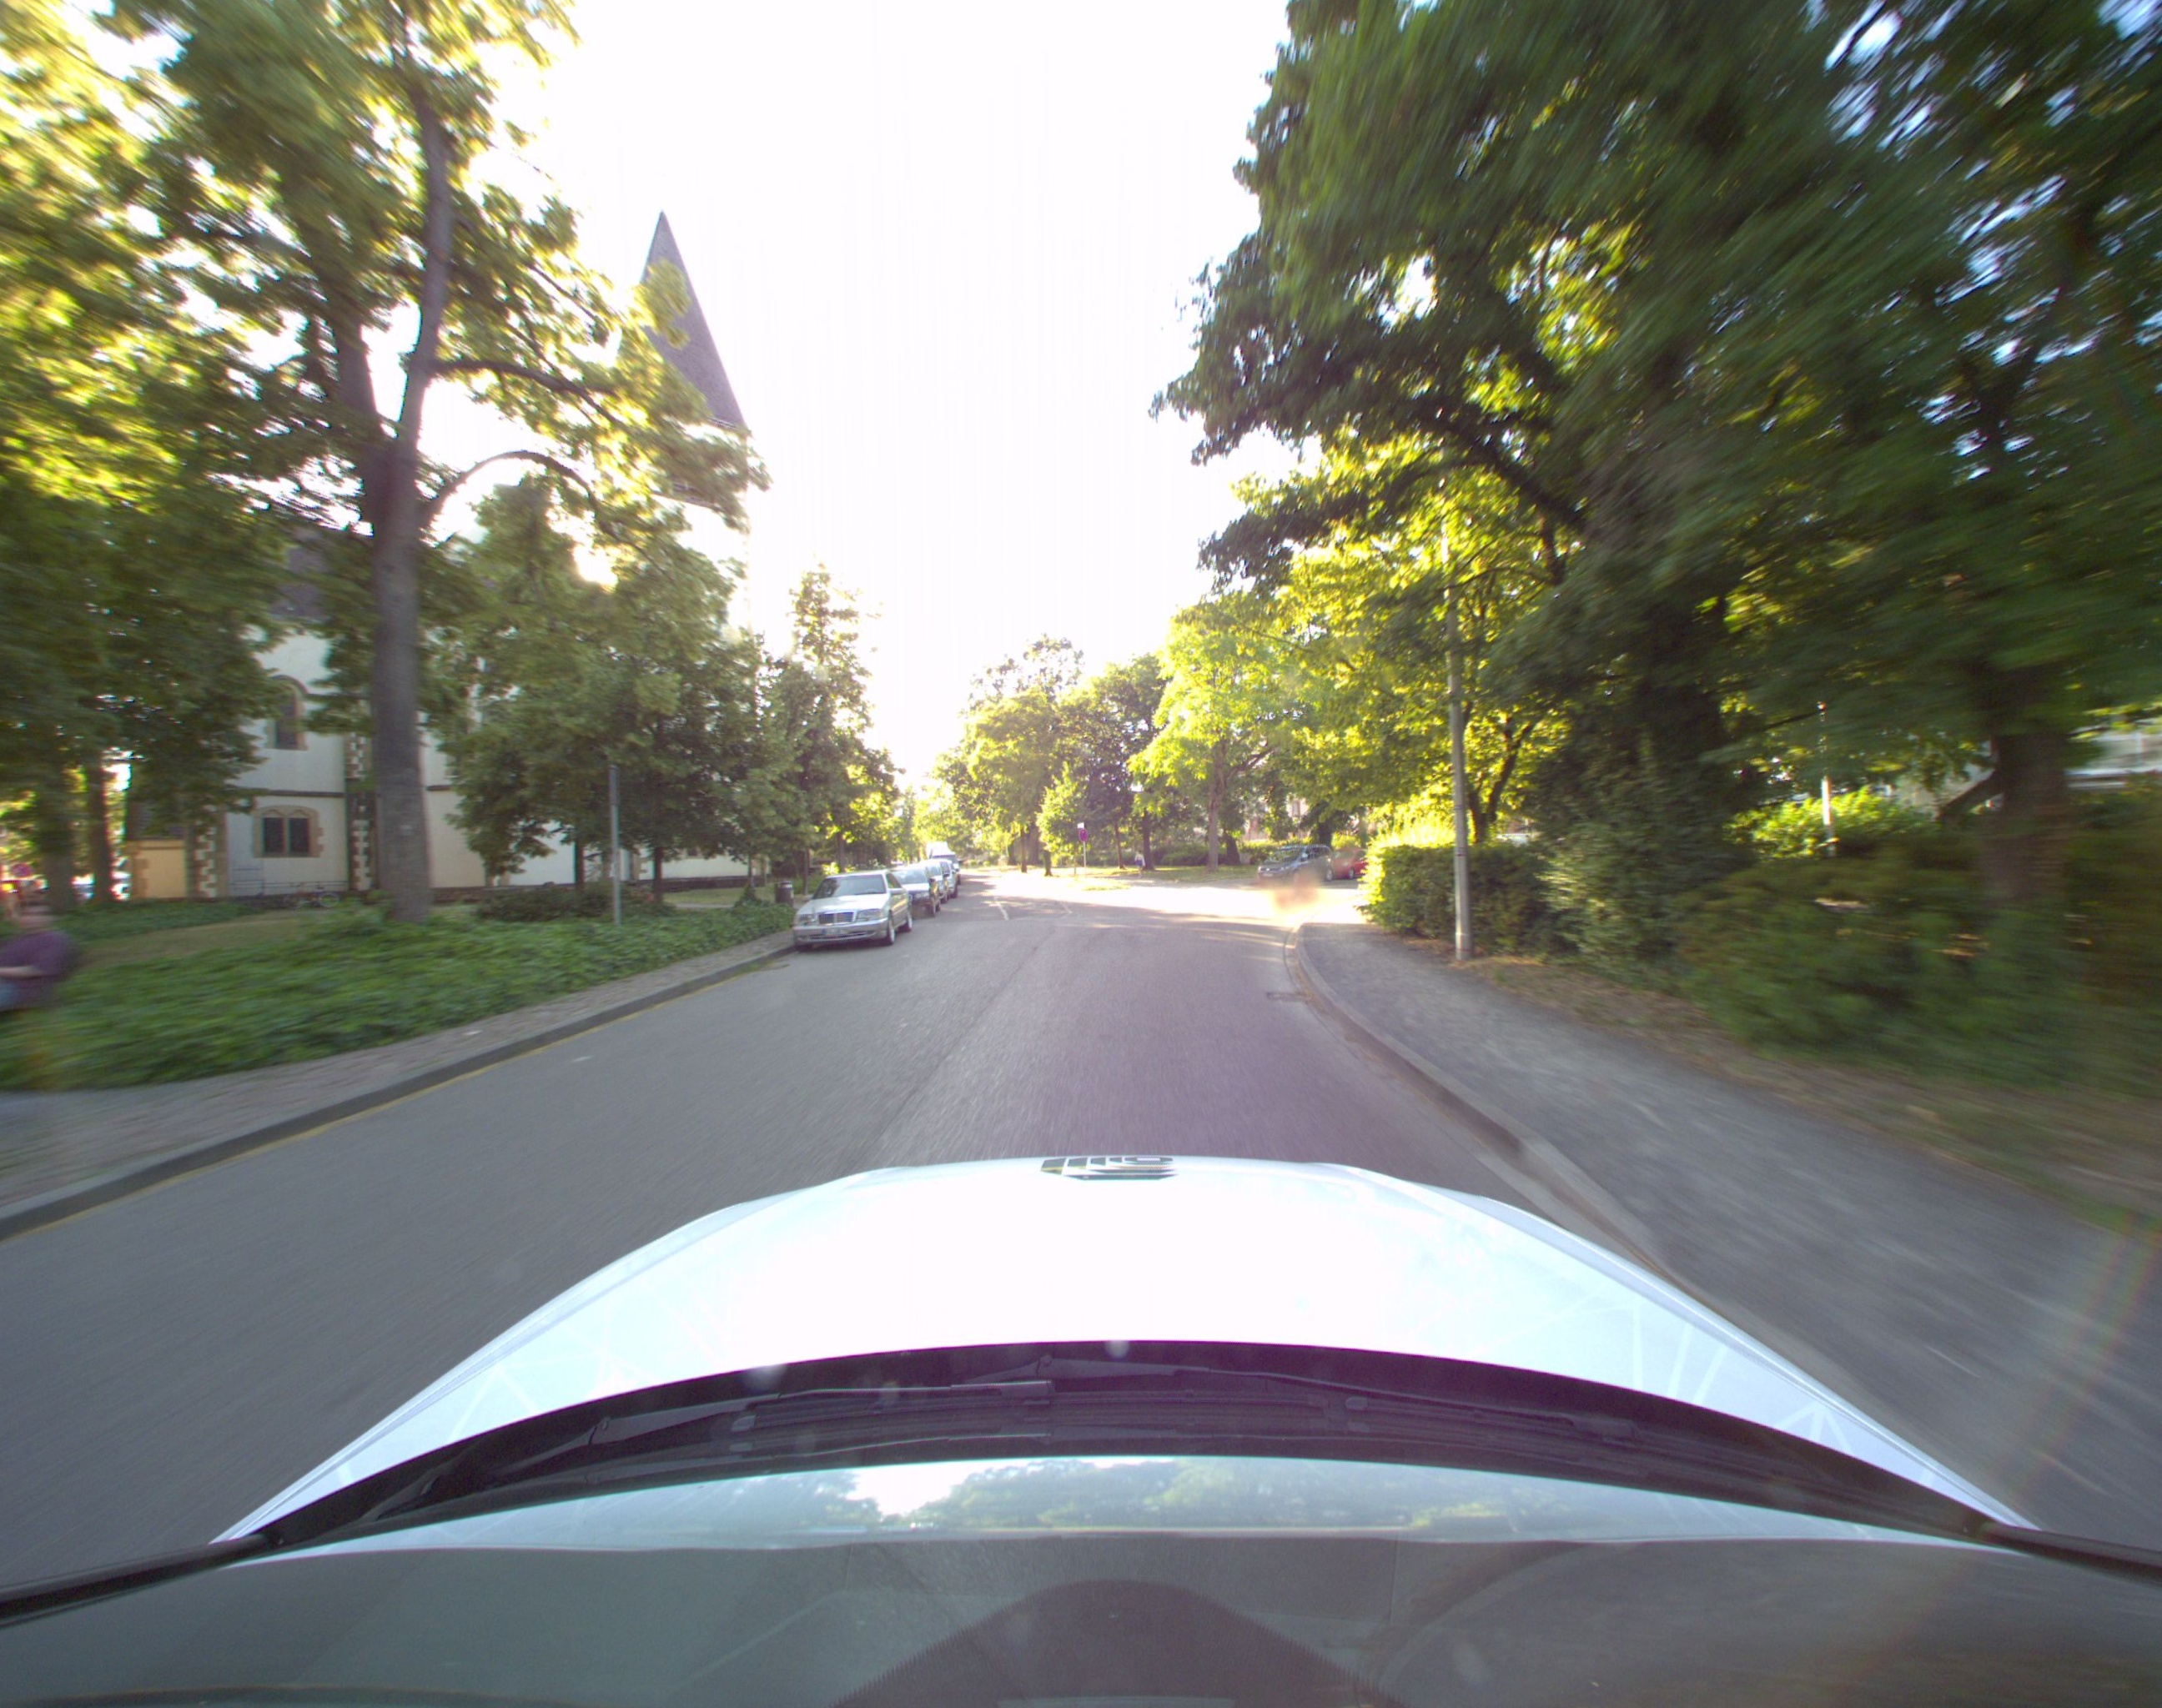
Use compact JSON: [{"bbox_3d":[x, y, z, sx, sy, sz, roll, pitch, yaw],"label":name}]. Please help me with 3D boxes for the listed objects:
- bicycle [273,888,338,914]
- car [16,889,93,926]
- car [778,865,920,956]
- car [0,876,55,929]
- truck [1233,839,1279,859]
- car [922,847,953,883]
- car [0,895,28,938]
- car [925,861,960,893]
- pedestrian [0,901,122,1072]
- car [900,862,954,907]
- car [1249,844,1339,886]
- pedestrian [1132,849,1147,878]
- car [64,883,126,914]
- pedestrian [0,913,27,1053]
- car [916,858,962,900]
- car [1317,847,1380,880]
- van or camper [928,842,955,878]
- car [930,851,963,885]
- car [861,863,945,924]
[{"bbox_3d":[-31.991,1.926,33.618,1.894,0.918,0.418,-1,0,-41],"label":"bicycle"},{"bbox_3d":[-52.070,2.681,41.379,1.903,1.655,4.168,-2,0,-44],"label":"car"},{"bbox_3d":[-4.530,1.023,16.621,1.776,1.415,4.492,-4,0,-4],"label":"car"},{"bbox_3d":[-48.074,2.179,36.589,1.903,2.261,4.168,-2,0,-44],"label":"car"},{"bbox_3d":[27.682,-0.799,129.094,2.619,3.029,7.935,-2,0,-28],"label":"truck"},{"bbox_3d":[-10.307,0.773,58.320,1.853,2.355,5.162,-2,0,-14],"label":"car"},{"bbox_3d":[-43.959,2.526,32.150,1.901,1.655,4.172,-2,0,-38],"label":"car"},{"bbox_3d":[-7.084,1.132,41.962,1.615,1.501,3.686,-2,0,-8],"label":"car"},{"bbox_3d":[-8.720,1.069,6.764,0.548,1.298,0.768,-2,0,9],"label":"pedestrian"},{"bbox_3d":[-5.606,1.081,29.991,1.611,1.440,3.597,-3,0,-7],"label":"car"},{"bbox_3d":[9.418,0.418,35.802,4.345,1.675,1.786,-2,2,-43],"label":"car"},{"bbox_3d":[3.336,0.538,46.293,0.770,1.574,0.768,-2,0,1],"label":"pedestrian"},{"bbox_3d":[-58.705,2.639,48.536,1.903,1.655,4.168,-2,0,-44],"label":"car"},{"bbox_3d":[-9.628,1.129,6.760,0.548,1.195,0.886,-2,0,9],"label":"pedestrian"},{"bbox_3d":[-5.863,0.990,33.889,1.704,1.579,3.686,-2,0,-8],"label":"car"},{"bbox_3d":[12.887,0.417,39.139,3.446,1.423,1.375,-2,2,-43],"label":"car"},{"bbox_3d":[-12.046,0.516,70.151,2.091,2.908,6.308,-2,0,-11],"label":"van or camper"},{"bbox_3d":[-8.256,0.836,50.283,1.850,1.946,4.827,-2,0,-8],"label":"car"},{"bbox_3d":[-5.028,1.049,23.553,1.823,1.415,4.484,-4,0,-7],"label":"car"}]
